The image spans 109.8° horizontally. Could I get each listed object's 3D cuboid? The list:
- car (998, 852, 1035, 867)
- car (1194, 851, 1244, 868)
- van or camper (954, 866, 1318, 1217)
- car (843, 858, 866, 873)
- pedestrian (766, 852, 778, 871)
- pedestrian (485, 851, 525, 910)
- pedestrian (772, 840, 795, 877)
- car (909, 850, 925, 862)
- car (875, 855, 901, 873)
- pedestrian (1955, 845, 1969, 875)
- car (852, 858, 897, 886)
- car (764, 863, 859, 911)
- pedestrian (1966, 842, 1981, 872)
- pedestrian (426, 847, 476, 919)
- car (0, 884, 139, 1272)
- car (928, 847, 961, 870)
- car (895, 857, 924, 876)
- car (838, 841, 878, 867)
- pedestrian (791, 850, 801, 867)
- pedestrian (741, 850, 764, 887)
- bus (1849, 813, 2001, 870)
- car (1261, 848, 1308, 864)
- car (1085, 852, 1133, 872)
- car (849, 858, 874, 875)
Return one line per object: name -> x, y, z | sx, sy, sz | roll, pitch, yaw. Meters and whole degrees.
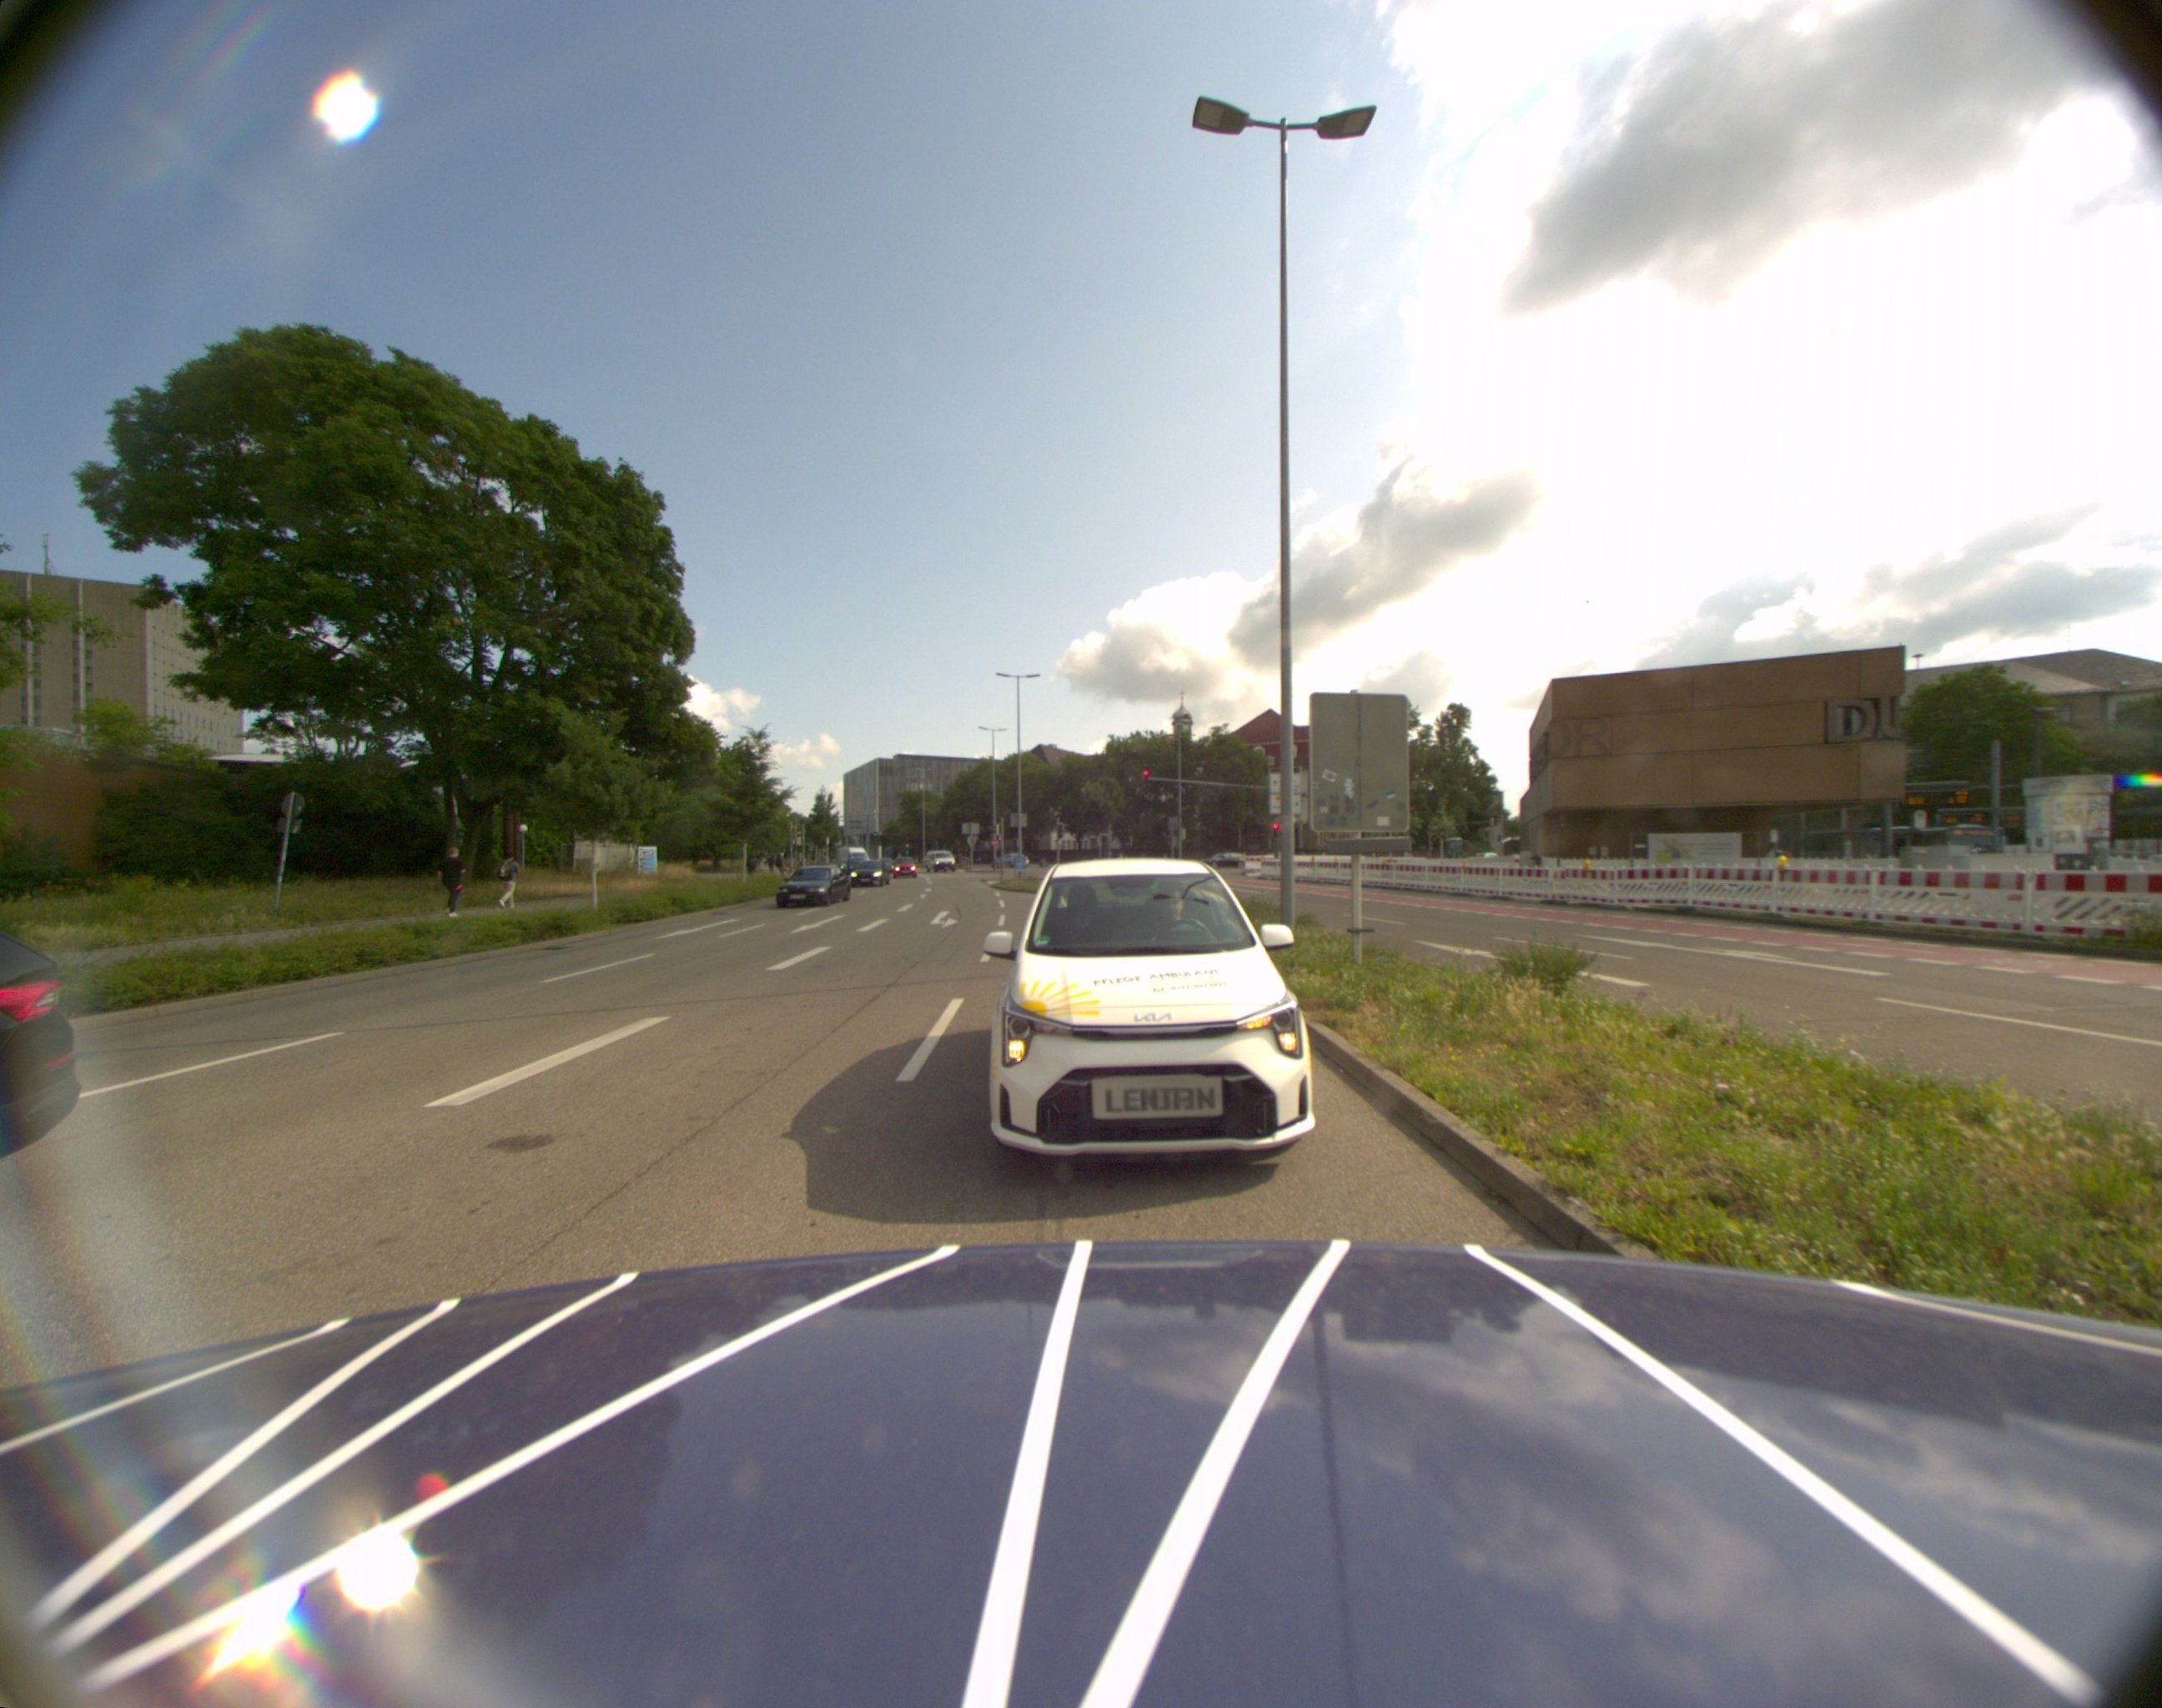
car -> -6.816, 0.594, 80.404 | 1.962, 1.479, 5.088 | 0, 0, -29
car -> 11.997, 0.469, 66.114 | 4.136, 1.382, 1.756 | 0, 0, -29
van or camper -> 0.323, 0.870, 5.418 | 1.627, 1.467, 4.000 | 0, 1, 2
car -> -22.854, 1.155, 76.518 | 2.002, 1.477, 3.993 | 0, 0, -20
pedestrian -> -32.828, 0.800, 80.791 | 0.988, 2.002, 1.128 | -2, 1, -16
pedestrian -> -17.444, 0.790, 23.023 | 0.671, 1.736, 0.645 | 2, 1, 1
pedestrian -> -16.506, 0.233, 42.225 | 0.988, 2.002, 1.128 | -2, 1, -16
car -> -27.452, 0.352, 127.427 | 1.775, 2.002, 3.605 | -1, 0, -26
car -> -18.004, 0.910, 70.777 | 1.893, 1.608, 3.993 | -2, 1, -20
pedestrian -> 46.785, 0.299, 40.343 | 0.357, 1.593, 0.365 | 0, 1, 21
car -> -11.483, 0.962, 42.412 | 1.713, 1.445, 3.998 | -1, 0, -5
car -> -9.539, 1.115, 27.302 | 1.999, 1.390, 4.507 | -1, 1, -3
pedestrian -> 47.321, 0.157, 40.285 | 0.357, 1.593, 0.365 | 0, 1, 21
pedestrian -> -16.569, 0.744, 19.992 | 0.760, 1.860, 0.645 | 2, 1, 1
car -> -5.675, 1.016, 1.407 | 1.999, 1.658, 4.683 | -1, 1, -1
car -> -12.881, 0.421, 71.305 | 2.002, 2.002, 5.065 | -2, 1, -22
car -> -12.670, 0.908, 56.245 | 1.609, 1.207, 3.008 | -2, 1, -5
car -> -25.306, 0.006, 85.929 | 2.491, 2.862, 6.133 | -1, 0, -35
pedestrian -> -33.684, 0.502, 89.787 | 0.988, 2.002, 1.128 | -1, 1, -16
pedestrian -> -18.642, 0.821, 43.161 | 0.988, 2.002, 1.128 | -2, 1, -16
bus -> 57.773, -0.797, 52.562 | 2.957, 3.487, 12.276 | 0, 0, 28
car -> 18.660, 0.190, 69.721 | 4.136, 1.382, 1.756 | 0, 0, -29
car -> 2.695, 0.768, 71.743 | 4.338, 1.674, 2.001 | -2, 1, 6
car -> -19.944, 1.093, 68.880 | 2.002, 1.477, 3.994 | 0, 0, -18
